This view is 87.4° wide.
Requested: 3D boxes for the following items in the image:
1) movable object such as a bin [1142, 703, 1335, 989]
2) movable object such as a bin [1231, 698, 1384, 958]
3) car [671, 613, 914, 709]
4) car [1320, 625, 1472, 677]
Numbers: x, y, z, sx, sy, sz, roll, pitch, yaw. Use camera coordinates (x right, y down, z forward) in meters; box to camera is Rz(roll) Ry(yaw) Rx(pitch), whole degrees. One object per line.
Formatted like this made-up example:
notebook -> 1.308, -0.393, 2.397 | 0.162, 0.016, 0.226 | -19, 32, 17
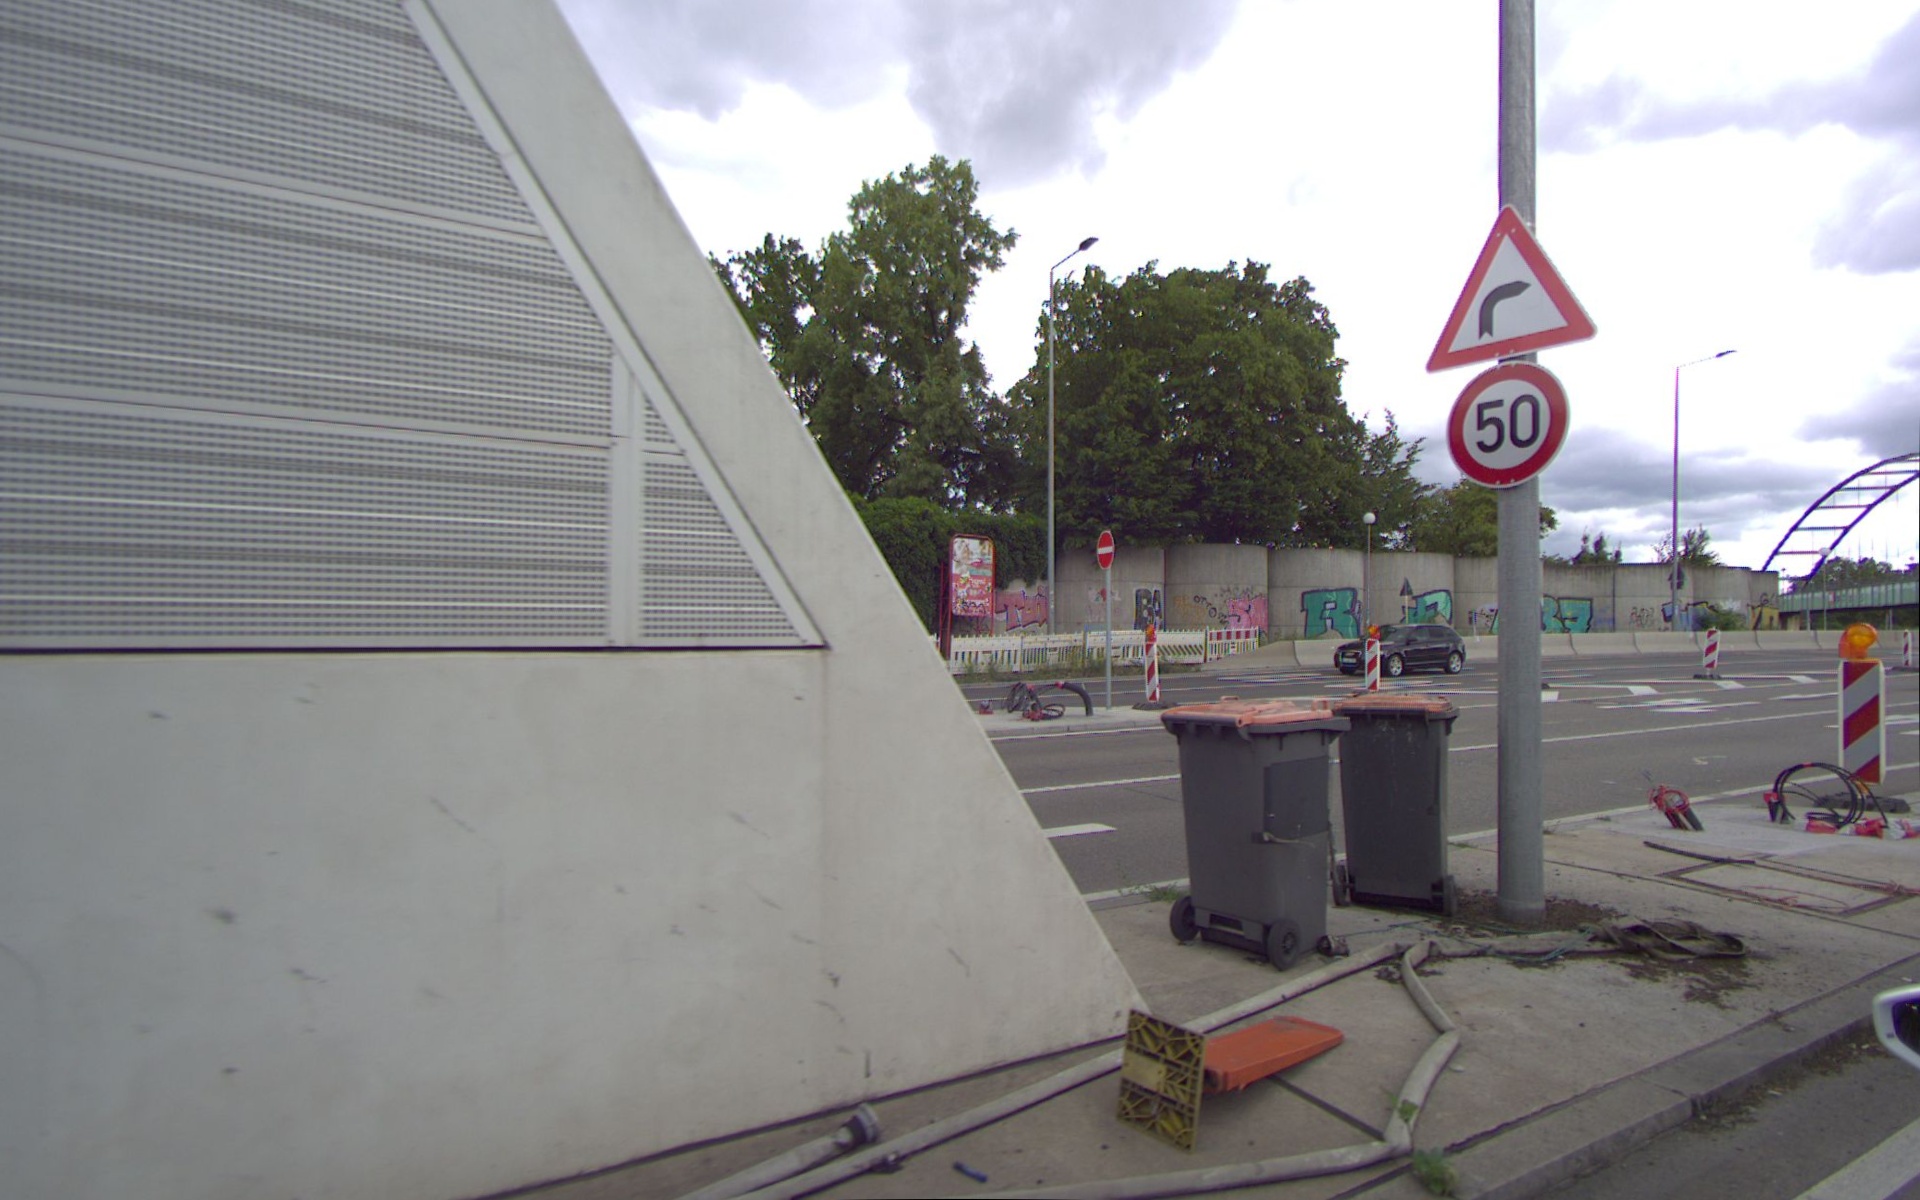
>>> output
movable object such as a bin -> 1.163, 0.976, 4.214 | 0.541, 1.022, 0.549 | 1, 0, -34
movable object such as a bin -> 1.557, 0.983, 4.515 | 0.419, 1.030, 0.485 | 1, 0, -35
car -> -3.227, 1.123, 19.525 | 4.321, 1.684, 1.840 | 1, -1, -29
car -> 12.382, 1.413, 28.492 | 4.145, 1.368, 1.855 | 1, -1, -29
